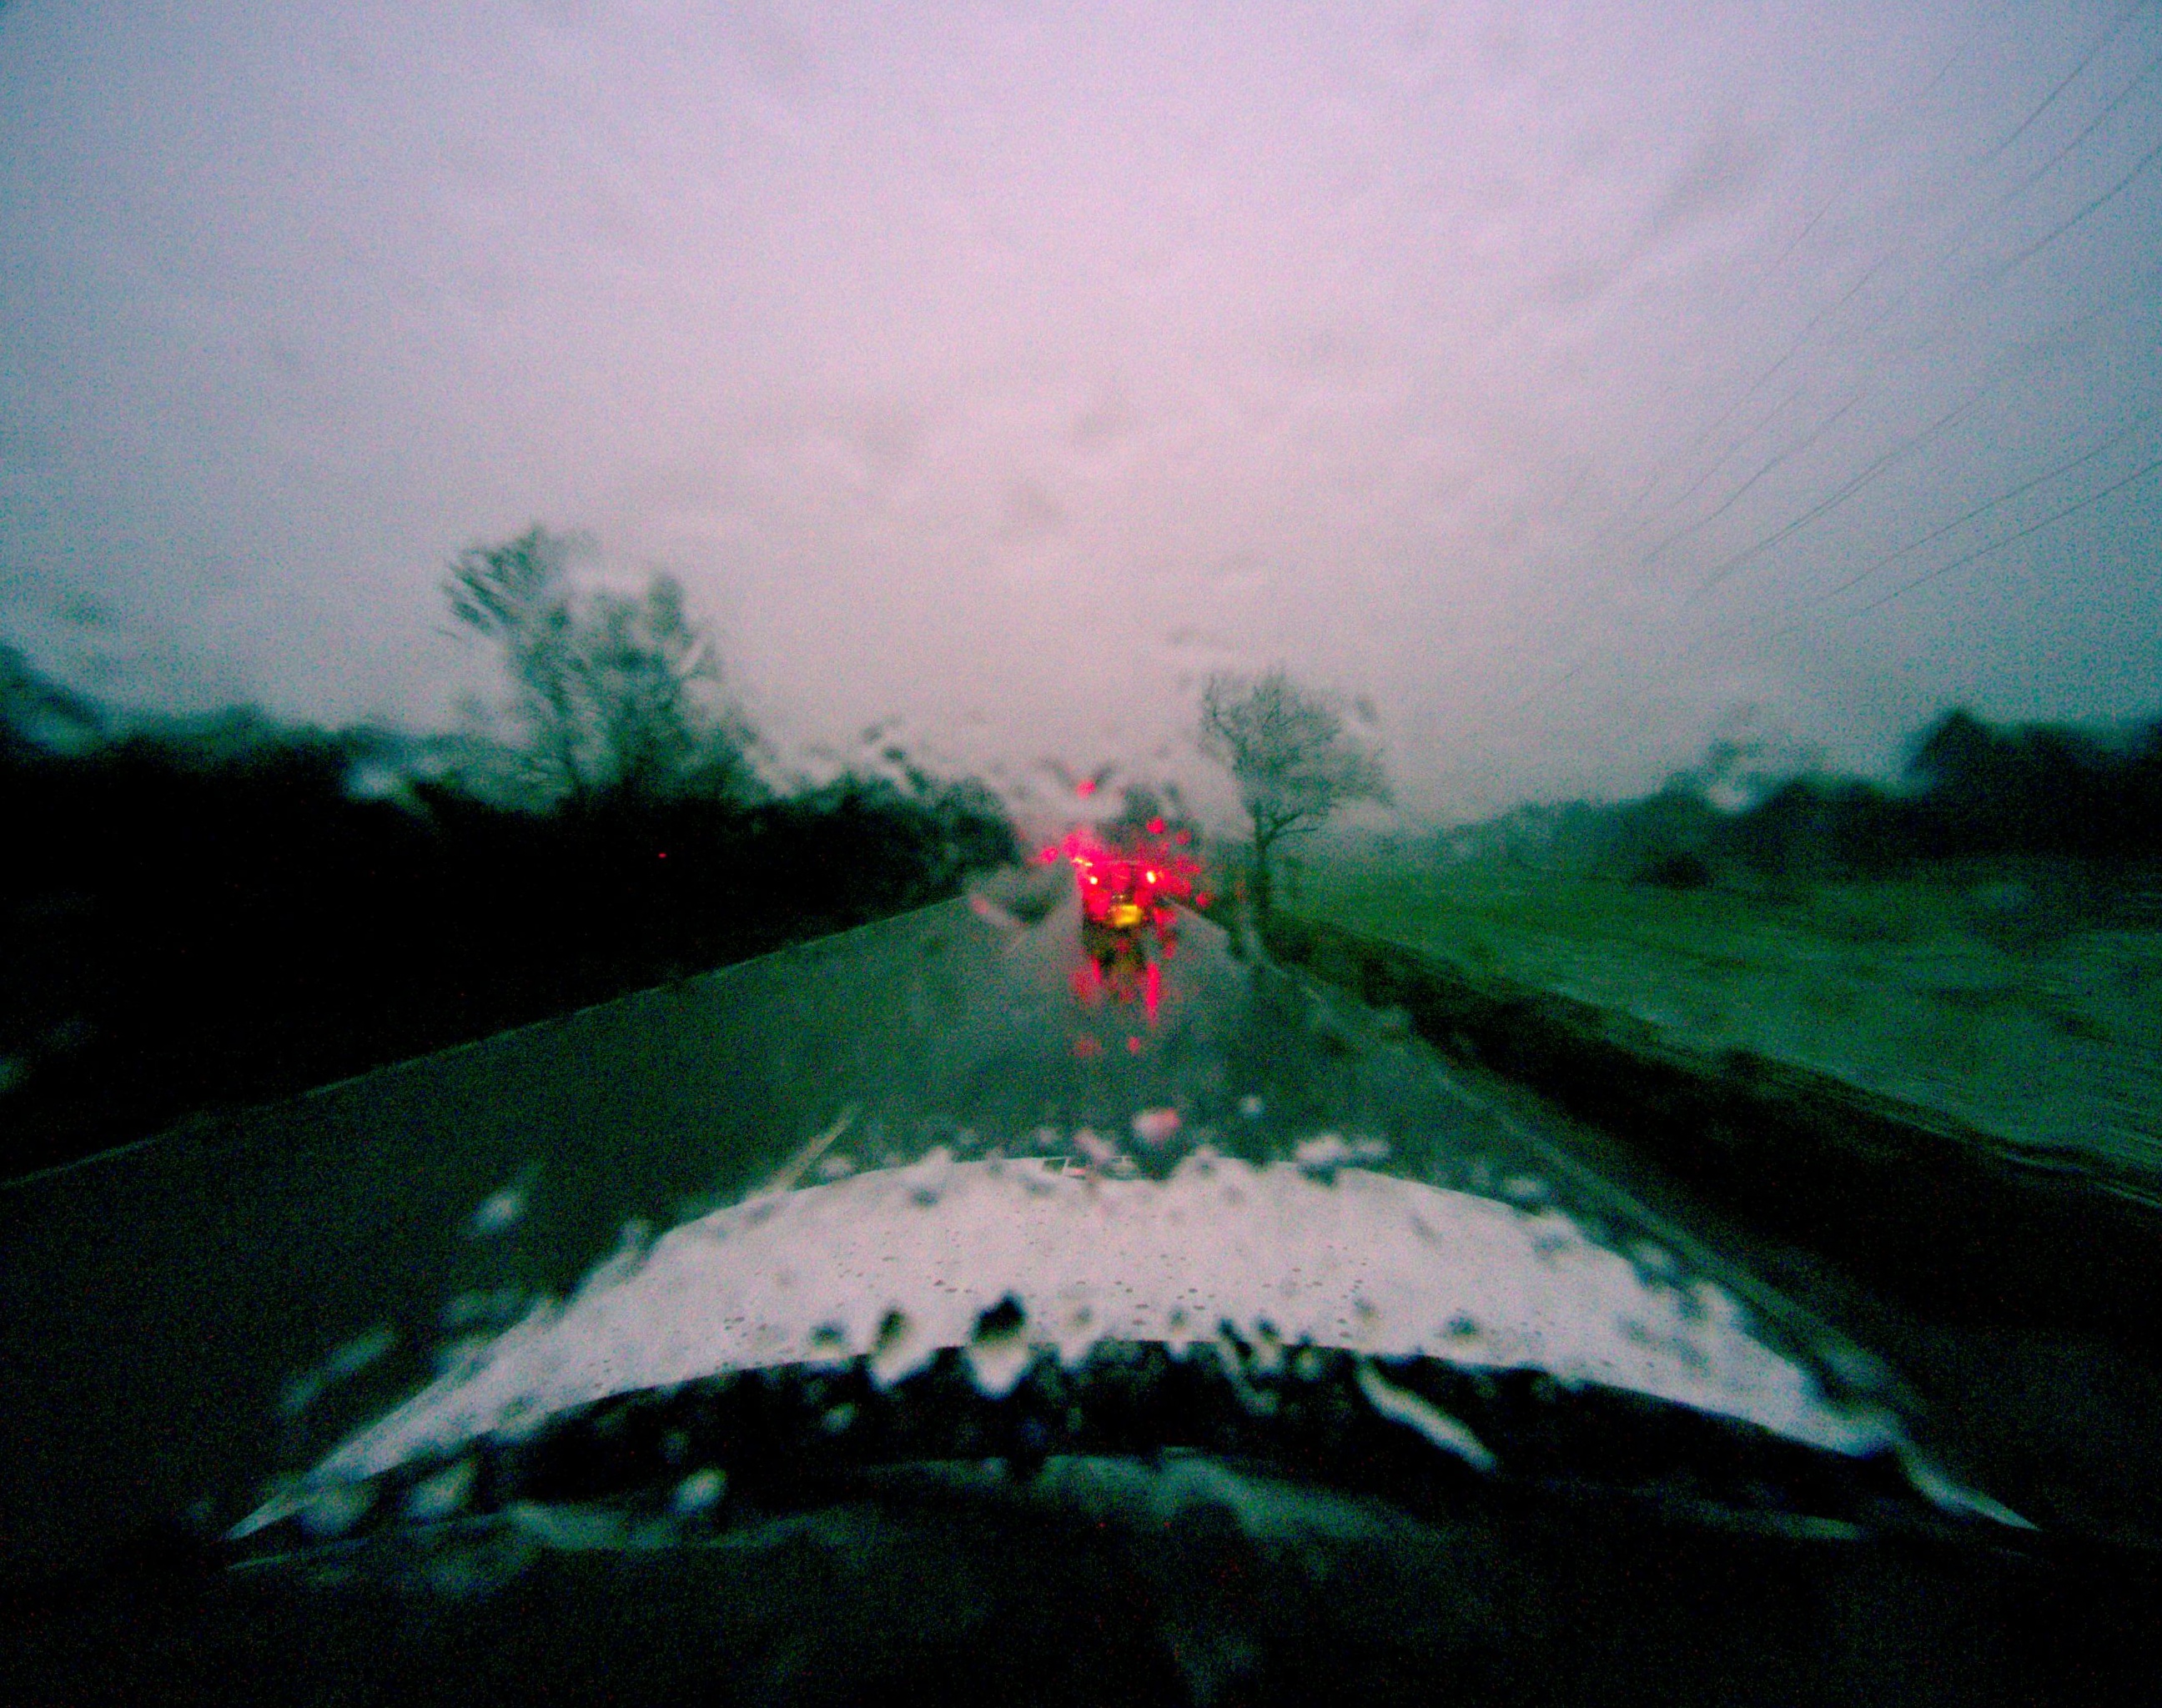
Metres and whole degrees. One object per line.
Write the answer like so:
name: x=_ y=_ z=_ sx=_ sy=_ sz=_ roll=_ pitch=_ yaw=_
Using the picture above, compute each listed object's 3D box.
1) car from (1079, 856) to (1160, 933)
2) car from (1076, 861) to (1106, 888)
car: x=0.826 y=0.824 z=18.127 sx=1.596 sy=1.522 sz=3.870 roll=0 pitch=-1 yaw=2
car: x=0.522 y=1.089 z=45.119 sx=1.542 sy=1.397 sz=3.867 roll=0 pitch=-1 yaw=-1
